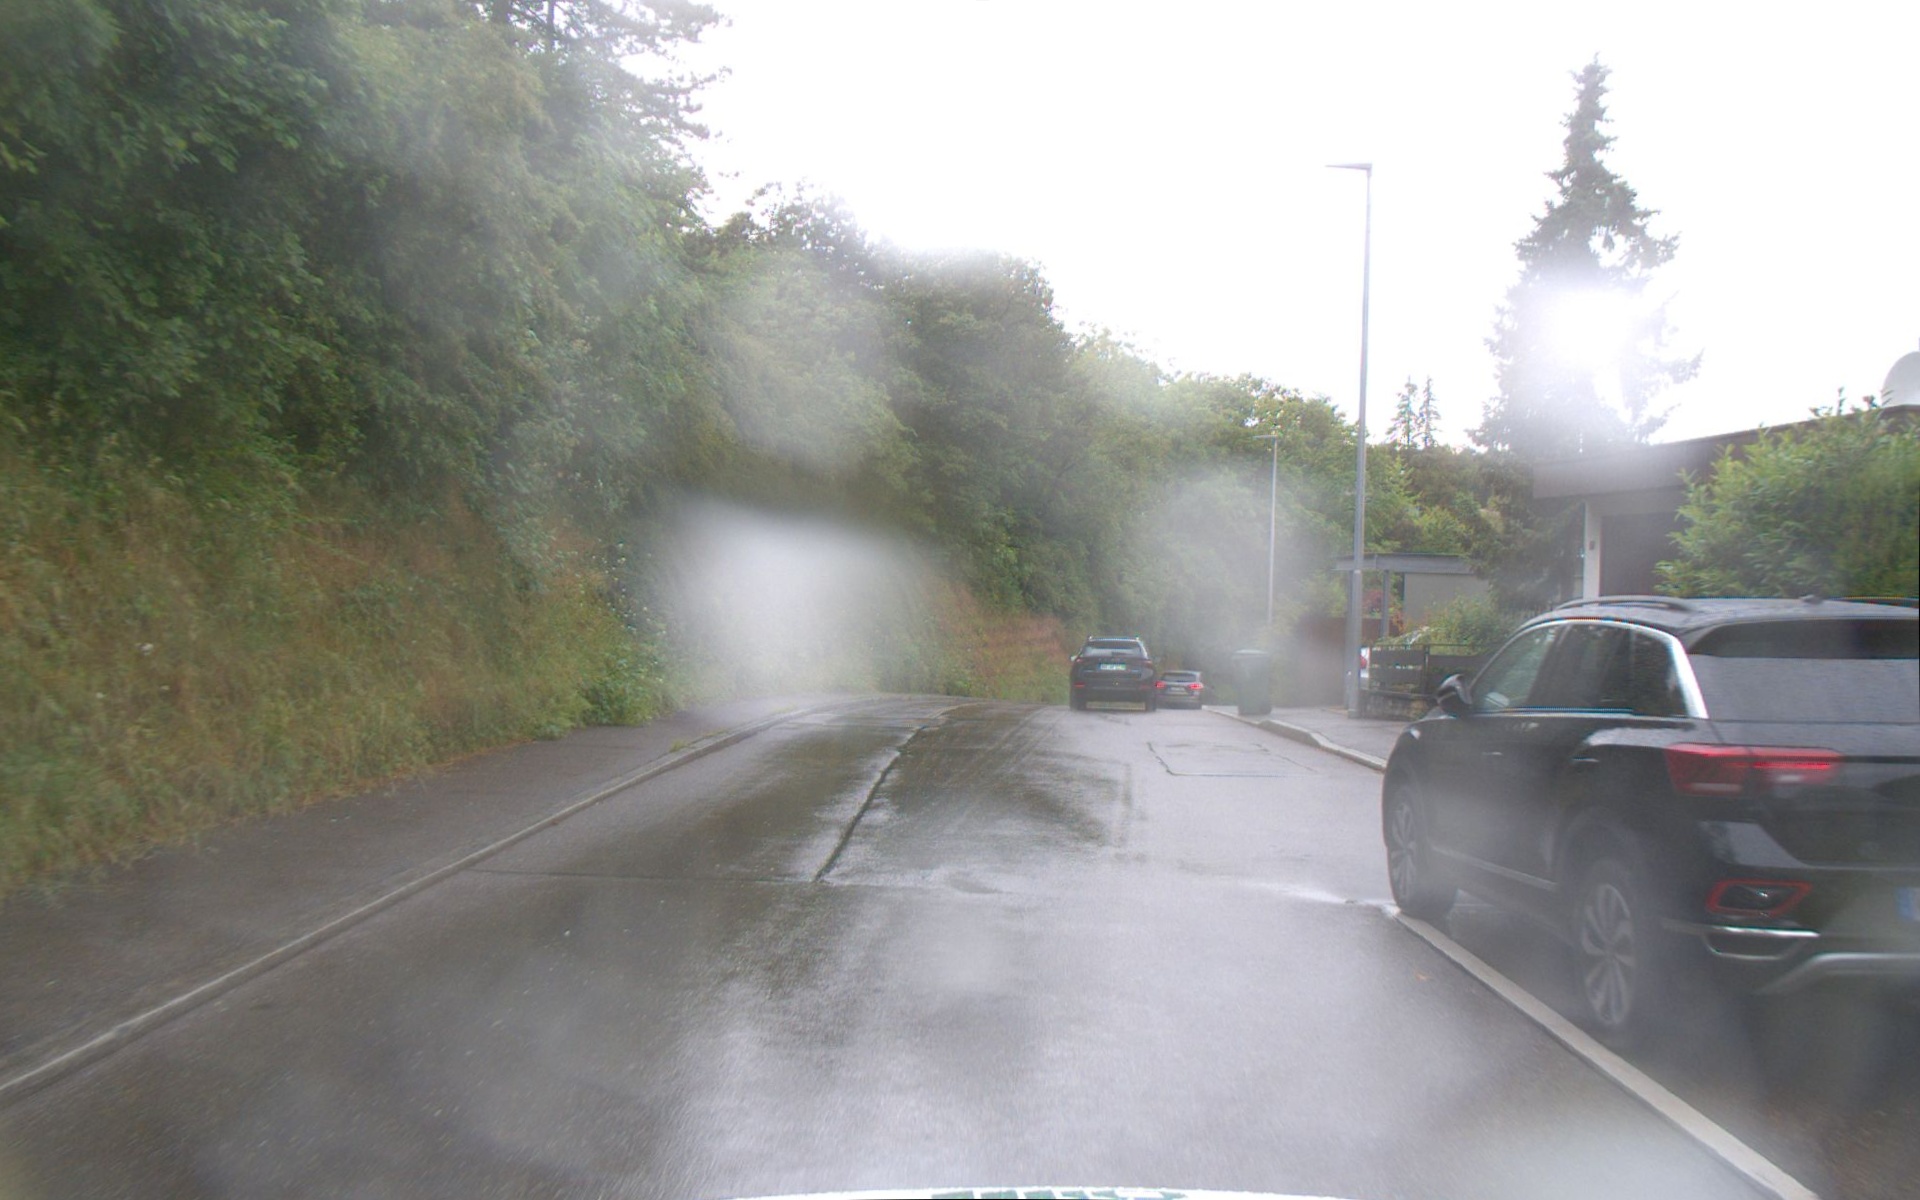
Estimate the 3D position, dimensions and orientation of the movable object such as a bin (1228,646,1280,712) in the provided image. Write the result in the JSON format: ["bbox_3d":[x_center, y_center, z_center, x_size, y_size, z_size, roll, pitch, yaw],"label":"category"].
[{"bbox_3d":[5.157,1.384,29.011,0.773,1.115,0.675,-3,-3,3],"label":"movable object such as a bin"}]

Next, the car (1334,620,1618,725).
[{"bbox_3d":[8.091,1.138,26.289,4.127,1.440,1.942,2,-2,13],"label":"car"}]

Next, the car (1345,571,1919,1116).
[{"bbox_3d":[3.114,0.735,7.191,1.837,1.620,4.479,1,0,0],"label":"car"}]

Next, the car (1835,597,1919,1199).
[{"bbox_3d":[3.128,0.770,2.131,1.720,1.487,4.301,2,0,0],"label":"car"}]

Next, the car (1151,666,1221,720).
[{"bbox_3d":[8.107,3.287,59.061,1.951,1.633,4.412,2,0,15],"label":"car"}]

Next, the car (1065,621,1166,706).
[{"bbox_3d":[3.119,1.347,33.867,1.829,1.539,4.093,3,-4,3],"label":"car"}]
